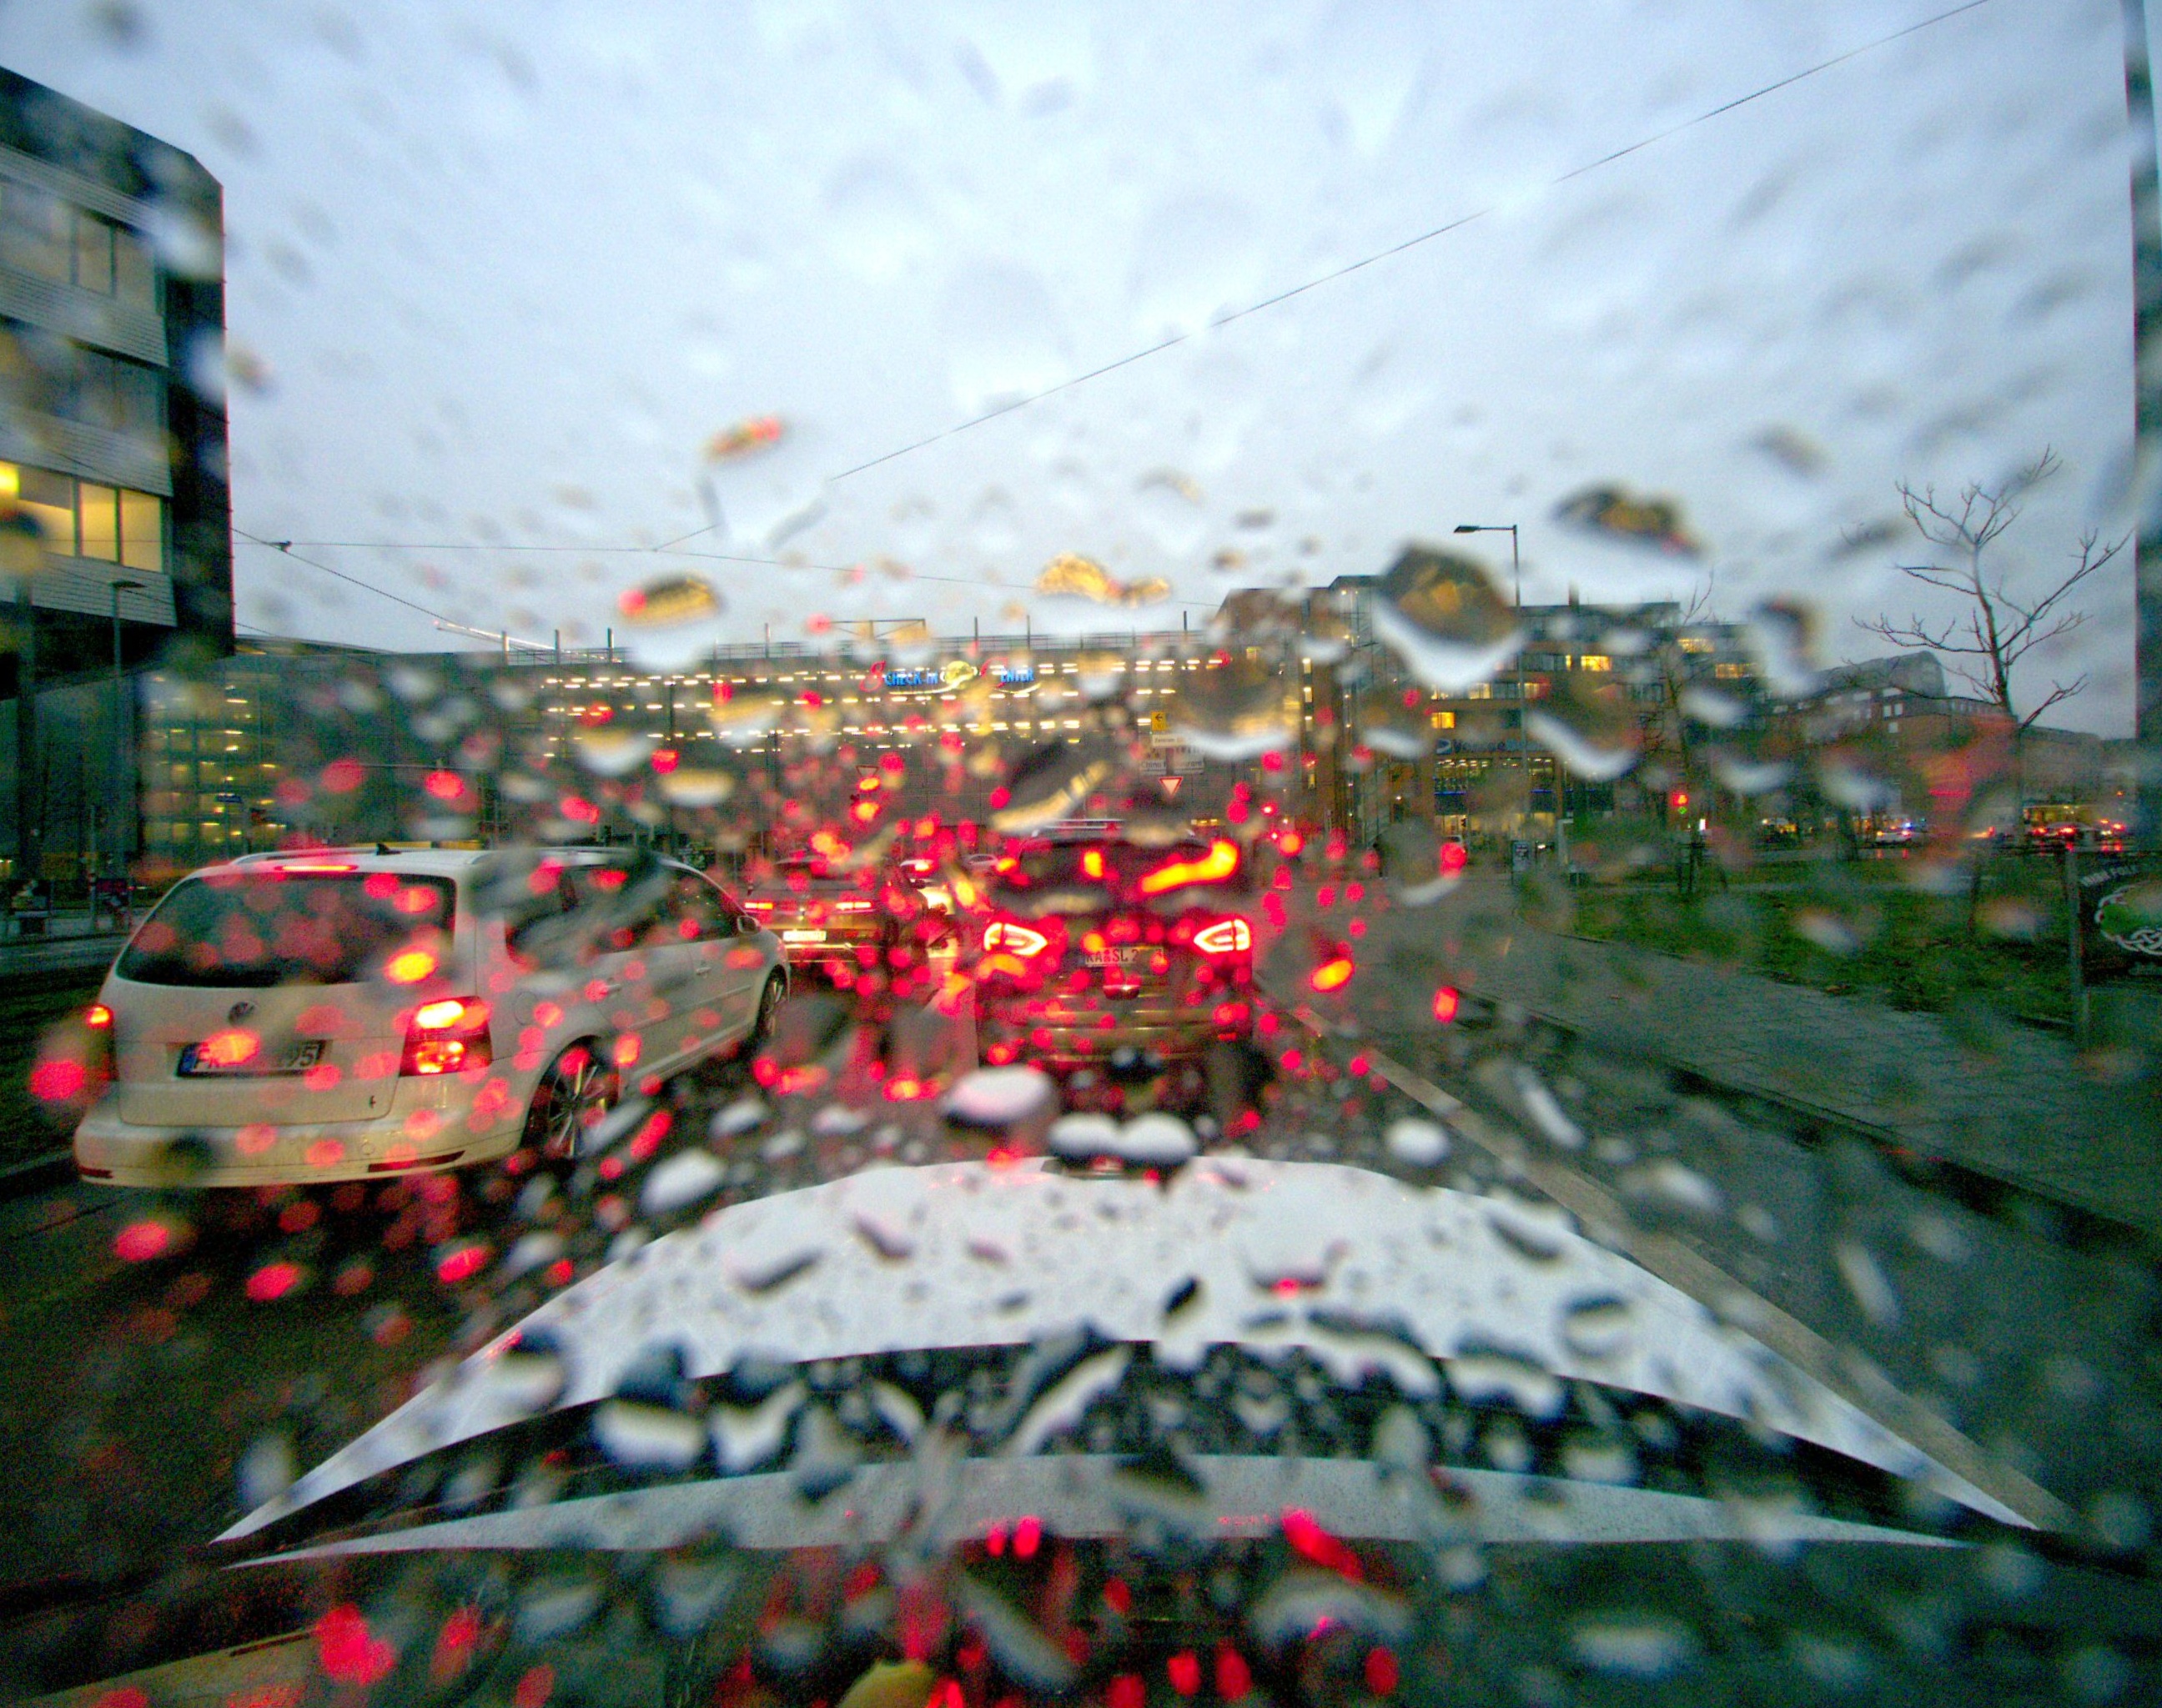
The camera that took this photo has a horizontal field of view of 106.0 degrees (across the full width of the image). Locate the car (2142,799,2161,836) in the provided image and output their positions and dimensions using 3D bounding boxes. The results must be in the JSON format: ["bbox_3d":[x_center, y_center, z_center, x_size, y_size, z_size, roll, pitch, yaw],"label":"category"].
[{"bbox_3d":[87.564,-2.942,64.524,6.356,2.827,2.348,-2,0,-19],"label":"car"}]

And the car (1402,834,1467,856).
[{"bbox_3d":[29.242,-0.736,67.450,4.634,1.677,1.781,-2,0,-8],"label":"car"}]

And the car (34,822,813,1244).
[{"bbox_3d":[-3.281,0.696,5.328,1.666,1.599,4.221,-2,0,-1],"label":"car"}]

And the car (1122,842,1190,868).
[{"bbox_3d":[5.915,0.041,64.321,4.951,1.871,1.897,-2,0,-13],"label":"car"}]

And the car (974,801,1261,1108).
[{"bbox_3d":[0.263,0.576,6.735,1.668,1.779,4.001,0,0,1],"label":"car"}]

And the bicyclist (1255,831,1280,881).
[{"bbox_3d":[7.259,0.092,31.722,0.786,1.890,0.991,-2,0,7],"label":"bicyclist"}]

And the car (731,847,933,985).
[{"bbox_3d":[-3.327,0.728,11.810,1.817,1.570,4.355,-2,0,-4],"label":"car"}]

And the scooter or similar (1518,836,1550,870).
[{"bbox_3d":[16.957,-0.044,30.476,1.312,1.206,0.331,-2,0,-27],"label":"scooter or similar"}]

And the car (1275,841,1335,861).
[{"bbox_3d":[18.294,-0.250,66.488,4.320,1.486,1.863,-2,0,-5],"label":"car"}]

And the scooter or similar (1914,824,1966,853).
[{"bbox_3d":[36.417,-0.662,34.544,1.548,1.227,0.669,0,-1,-4],"label":"scooter or similar"}]

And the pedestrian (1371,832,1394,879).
[{"bbox_3d":[12.300,0.043,33.237,0.766,1.877,0.639,-2,0,24],"label":"pedestrian"}]

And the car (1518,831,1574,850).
[{"bbox_3d":[39.980,-1.167,70.029,4.421,1.444,1.619,-2,0,-18],"label":"car"}]

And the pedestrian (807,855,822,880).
[{"bbox_3d":[-25.836,1.293,78.996,1.106,2.439,0.966,0,-1,1],"label":"pedestrian"}]

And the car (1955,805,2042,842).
[{"bbox_3d":[64.770,-2.168,57.469,5.975,2.427,1.986,-2,0,-20],"label":"car"}]

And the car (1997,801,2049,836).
[{"bbox_3d":[82.857,-3.088,71.581,6.386,2.827,2.337,-2,0,-35],"label":"car"}]

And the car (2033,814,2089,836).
[{"bbox_3d":[71.451,-2.102,59.377,3.470,1.520,1.513,-1,0,-19],"label":"car"}]

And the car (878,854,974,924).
[{"bbox_3d":[-3.593,0.760,19.513,1.754,1.463,3.912,-1,0,-4],"label":"car"}]

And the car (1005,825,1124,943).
[{"bbox_3d":[-0.355,0.461,15.106,1.839,1.806,4.482,-2,0,-3],"label":"car"}]

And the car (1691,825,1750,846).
[{"bbox_3d":[58.300,-1.676,74.268,4.607,1.719,1.918,-2,0,-18],"label":"car"}]

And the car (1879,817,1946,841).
[{"bbox_3d":[56.429,-1.702,55.286,3.681,1.496,1.635,-2,0,-17],"label":"car"}]

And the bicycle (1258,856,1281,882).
[{"bbox_3d":[7.349,0.570,31.778,0.651,0.973,1.870,-2,0,8],"label":"bicycle"}]

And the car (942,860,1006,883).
[{"bbox_3d":[-7.080,1.138,54.541,1.624,1.386,4.505,-2,0,34],"label":"car"}]
